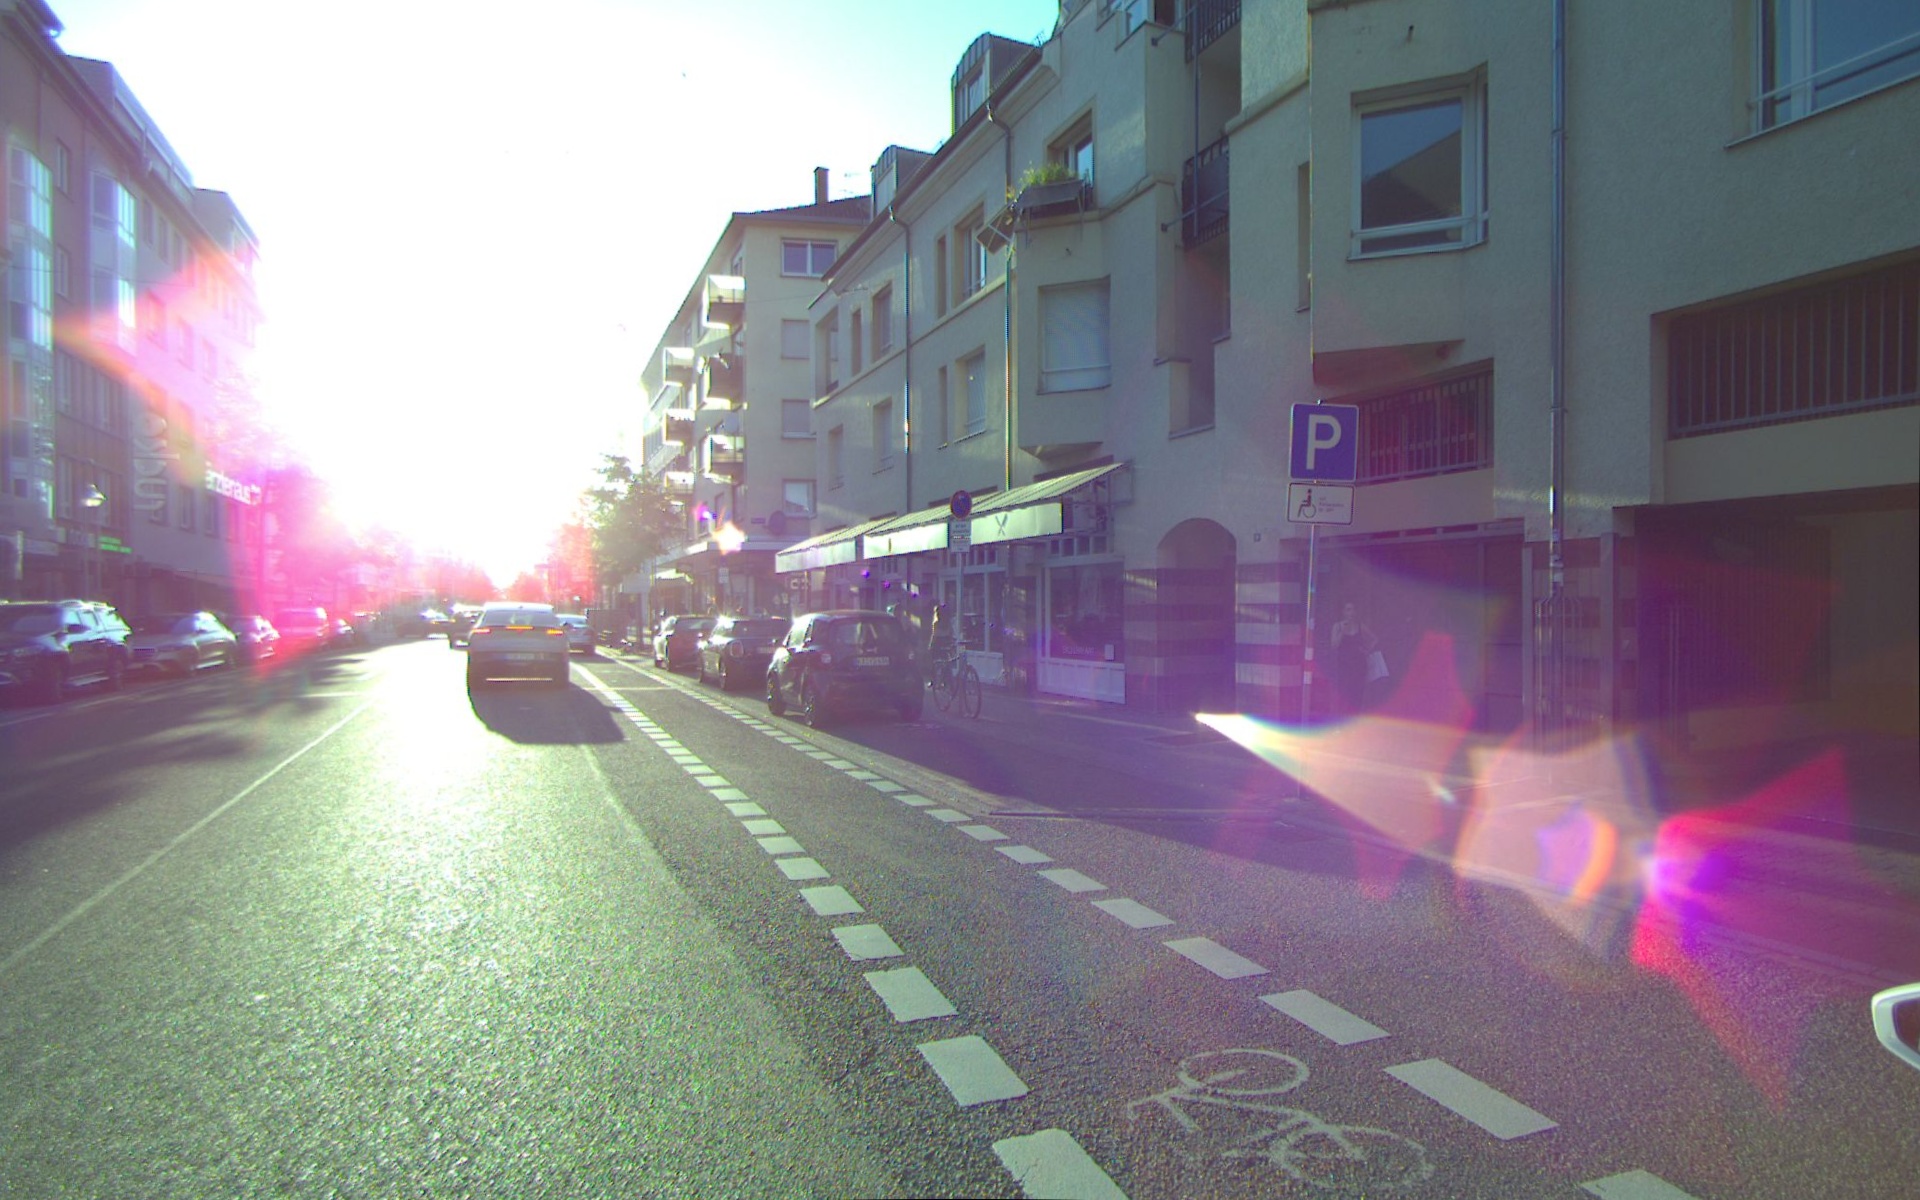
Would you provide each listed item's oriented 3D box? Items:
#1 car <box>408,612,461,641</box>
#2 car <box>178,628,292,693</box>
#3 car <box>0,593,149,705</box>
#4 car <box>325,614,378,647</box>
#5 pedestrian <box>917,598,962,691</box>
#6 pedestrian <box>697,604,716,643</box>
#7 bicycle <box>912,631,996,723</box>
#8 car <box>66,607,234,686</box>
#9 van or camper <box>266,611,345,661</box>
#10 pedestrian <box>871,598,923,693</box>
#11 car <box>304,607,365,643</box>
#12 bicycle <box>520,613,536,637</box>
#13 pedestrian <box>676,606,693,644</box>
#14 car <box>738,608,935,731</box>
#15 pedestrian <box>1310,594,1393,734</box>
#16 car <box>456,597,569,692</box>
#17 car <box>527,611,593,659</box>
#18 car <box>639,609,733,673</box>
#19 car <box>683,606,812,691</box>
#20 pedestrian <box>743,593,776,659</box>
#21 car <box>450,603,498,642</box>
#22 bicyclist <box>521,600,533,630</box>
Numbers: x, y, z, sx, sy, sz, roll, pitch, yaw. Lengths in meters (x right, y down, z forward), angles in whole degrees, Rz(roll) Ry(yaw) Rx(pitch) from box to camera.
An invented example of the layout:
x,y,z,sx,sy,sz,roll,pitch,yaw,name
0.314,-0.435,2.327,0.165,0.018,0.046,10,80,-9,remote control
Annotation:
x,y,z,sx,sy,sz,roll,pitch,yaw,name
-32.740,1.662,62.536,1.832,1.670,4.245,3,-1,-44,car
-21.606,1.742,30.140,1.973,1.677,4.452,0,0,-25,car
-16.906,0.828,18.442,1.974,1.801,5.283,-1,0,-26,car
-29.619,1.457,48.991,1.671,1.523,3.766,0,0,-23,car
-0.396,0.829,19.076,0.553,1.722,0.826,-1,0,-25,pedestrian
-11.942,1.114,47.307,0.710,1.815,0.663,-1,0,-24,pedestrian
-0.122,1.097,14.879,0.552,1.222,1.967,0,0,-22,bicycle
-19.377,1.033,24.288,1.972,1.677,4.601,-1,0,-24,car
-25.197,1.312,38.807,1.768,1.797,4.533,0,0,-23,van or camper
-1.199,0.837,18.989,0.623,1.722,1.034,-1,0,-25,pedestrian
-27.301,1.064,43.953,1.671,1.523,3.766,0,0,-23,car
-23.692,1.380,55.105,0.655,1.259,2.119,2,-1,-21,bicycle
-13.226,1.203,48.191,0.710,1.815,0.663,-1,0,-24,pedestrian
-2.011,0.930,15.281,1.772,1.601,3.940,0,0,-26,car
4.525,0.727,11.649,0.763,1.593,0.534,0,0,3,pedestrian
-8.997,0.850,20.412,1.852,1.720,4.298,2,-1,-22,car
-14.745,1.243,36.927,1.973,1.626,4.376,1,-1,-25,car
-7.500,1.041,27.296,1.772,1.601,3.761,0,0,-26,car
-4.528,0.934,21.039,1.772,1.601,3.761,0,0,-26,car
-5.450,0.704,27.245,0.710,1.757,0.733,-1,0,-25,pedestrian
-21.835,0.991,45.184,1.820,1.670,4.272,2,-1,-26,car
-23.736,0.834,55.071,0.540,1.602,0.799,-1,0,-22,bicyclist
